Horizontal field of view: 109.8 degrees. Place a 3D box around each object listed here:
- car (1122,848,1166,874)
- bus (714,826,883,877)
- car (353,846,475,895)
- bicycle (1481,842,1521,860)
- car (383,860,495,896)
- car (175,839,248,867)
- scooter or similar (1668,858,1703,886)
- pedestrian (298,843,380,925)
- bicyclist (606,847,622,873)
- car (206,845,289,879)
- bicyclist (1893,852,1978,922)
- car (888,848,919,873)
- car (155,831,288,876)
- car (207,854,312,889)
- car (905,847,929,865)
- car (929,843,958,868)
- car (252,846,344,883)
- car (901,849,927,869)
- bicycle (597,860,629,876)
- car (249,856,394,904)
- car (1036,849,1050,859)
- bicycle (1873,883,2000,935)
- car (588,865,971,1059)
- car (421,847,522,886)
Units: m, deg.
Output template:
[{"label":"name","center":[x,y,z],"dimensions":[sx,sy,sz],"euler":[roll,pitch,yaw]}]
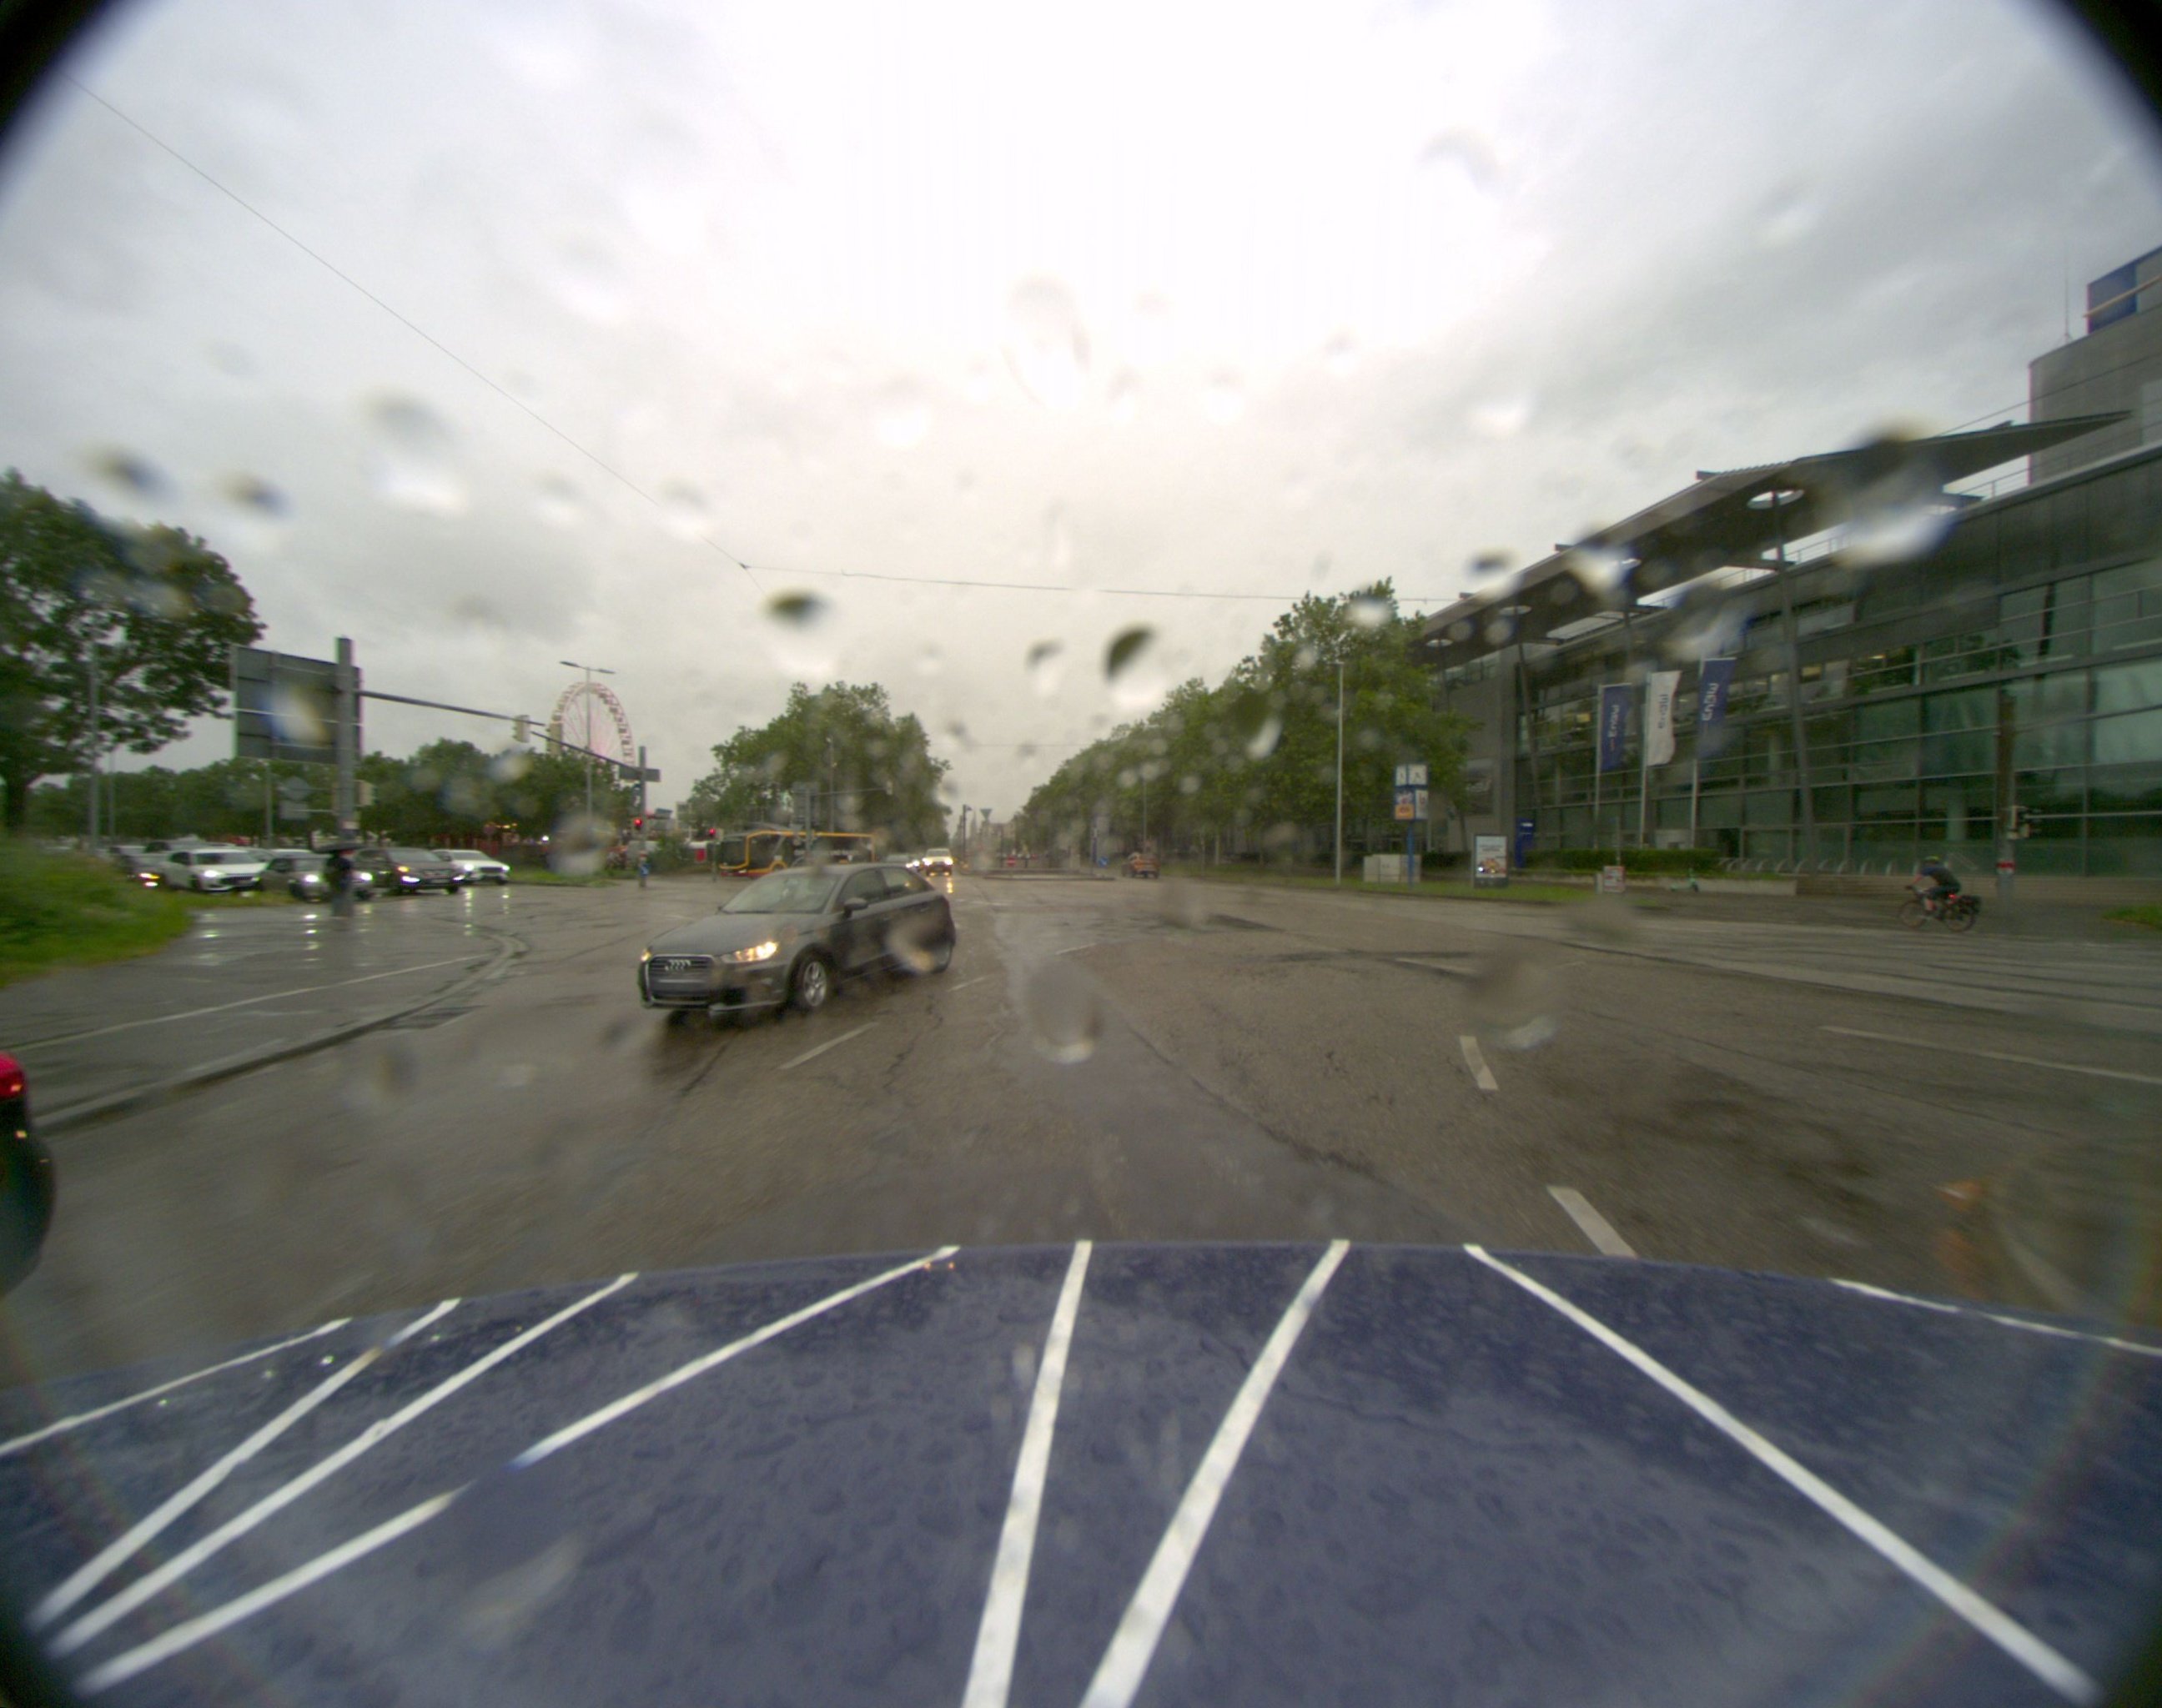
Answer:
[{"label":"car","center":[4.157,0.424,51.059],"dimensions":[1.907,1.622,4.165],"euler":[0,1,-11]},{"label":"bus","center":[-19.740,-0.263,54.462],"dimensions":[3.266,3.250,12.312],"euler":[1,1,28]},{"label":"car","center":[-24.160,0.540,27.512],"dimensions":[4.050,1.647,2.033],"euler":[1,1,29]},{"label":"bicycle","center":[31.673,-0.236,57.255],"dimensions":[3.702,1.324,1.189],"euler":[0,1,-36]},{"label":"car","center":[-26.826,0.955,31.763],"dimensions":[3.991,1.350,1.835],"euler":[1,1,20]},{"label":"car","center":[-56.450,-0.092,49.333],"dimensions":[3.990,1.710,1.948],"euler":[1,1,23]},{"label":"scooter or similar","center":[25.552,0.740,32.141],"dimensions":[0.341,1.132,1.173],"euler":[0,1,-13]},{"label":"pedestrian","center":[-16.164,0.624,16.569],"dimensions":[0.818,1.709,1.006],"euler":[1,1,18]},{"label":"bicyclist","center":[-34.644,0.431,56.333],"dimensions":[0.620,1.871,0.771],"euler":[1,2,23]},{"label":"car","center":[-43.951,0.393,40.073],"dimensions":[3.989,1.710,1.854],"euler":[1,1,26]},{"label":"bicyclist","center":[19.858,0.762,17.682],"dimensions":[0.805,1.584,1.047],"euler":[0,-1,-5]},{"label":"car","center":[-12.696,0.430,54.571],"dimensions":[1.934,1.641,4.337],"euler":[0,1,-11]},{"label":"car","center":[-29.762,-0.052,26.319],"dimensions":[3.990,1.474,1.836],"euler":[1,1,23]},{"label":"car","center":[-35.059,0.695,32.431],"dimensions":[3.990,1.350,1.836],"euler":[1,1,24]},{"label":"car","center":[-16.965,0.180,78.338],"dimensions":[2.079,1.838,4.738],"euler":[0,1,-16]},{"label":"car","center":[-10.282,0.069,56.773],"dimensions":[2.078,1.838,4.741],"euler":[0,1,-10]},{"label":"car","center":[-38.334,0.461,37.193],"dimensions":[3.990,1.710,1.874],"euler":[1,1,24]},{"label":"car","center":[-15.564,0.428,70.571],"dimensions":[1.892,1.744,3.993],"euler":[0,1,-19]},{"label":"bicycle","center":[-34.704,1.047,56.376],"dimensions":[2.254,1.158,0.823],"euler":[0,1,22]},{"label":"car","center":[-24.014,0.766,24.030],"dimensions":[3.990,1.341,1.901],"euler":[1,1,24]},{"label":"car","center":[-6.072,-0.040,121.815],"dimensions":[1.842,1.543,3.996],"euler":[0,1,-8]},{"label":"bicycle","center":[19.860,1.241,17.706],"dimensions":[0.694,1.088,1.912],"euler":[1,0,-5]},{"label":"car","center":[-2.944,0.923,8.357],"dimensions":[1.838,1.390,3.758],"euler":[1,3,20]},{"label":"car","center":[-28.787,0.546,35.879],"dimensions":[4.291,1.710,2.180],"euler":[1,1,28]}]
